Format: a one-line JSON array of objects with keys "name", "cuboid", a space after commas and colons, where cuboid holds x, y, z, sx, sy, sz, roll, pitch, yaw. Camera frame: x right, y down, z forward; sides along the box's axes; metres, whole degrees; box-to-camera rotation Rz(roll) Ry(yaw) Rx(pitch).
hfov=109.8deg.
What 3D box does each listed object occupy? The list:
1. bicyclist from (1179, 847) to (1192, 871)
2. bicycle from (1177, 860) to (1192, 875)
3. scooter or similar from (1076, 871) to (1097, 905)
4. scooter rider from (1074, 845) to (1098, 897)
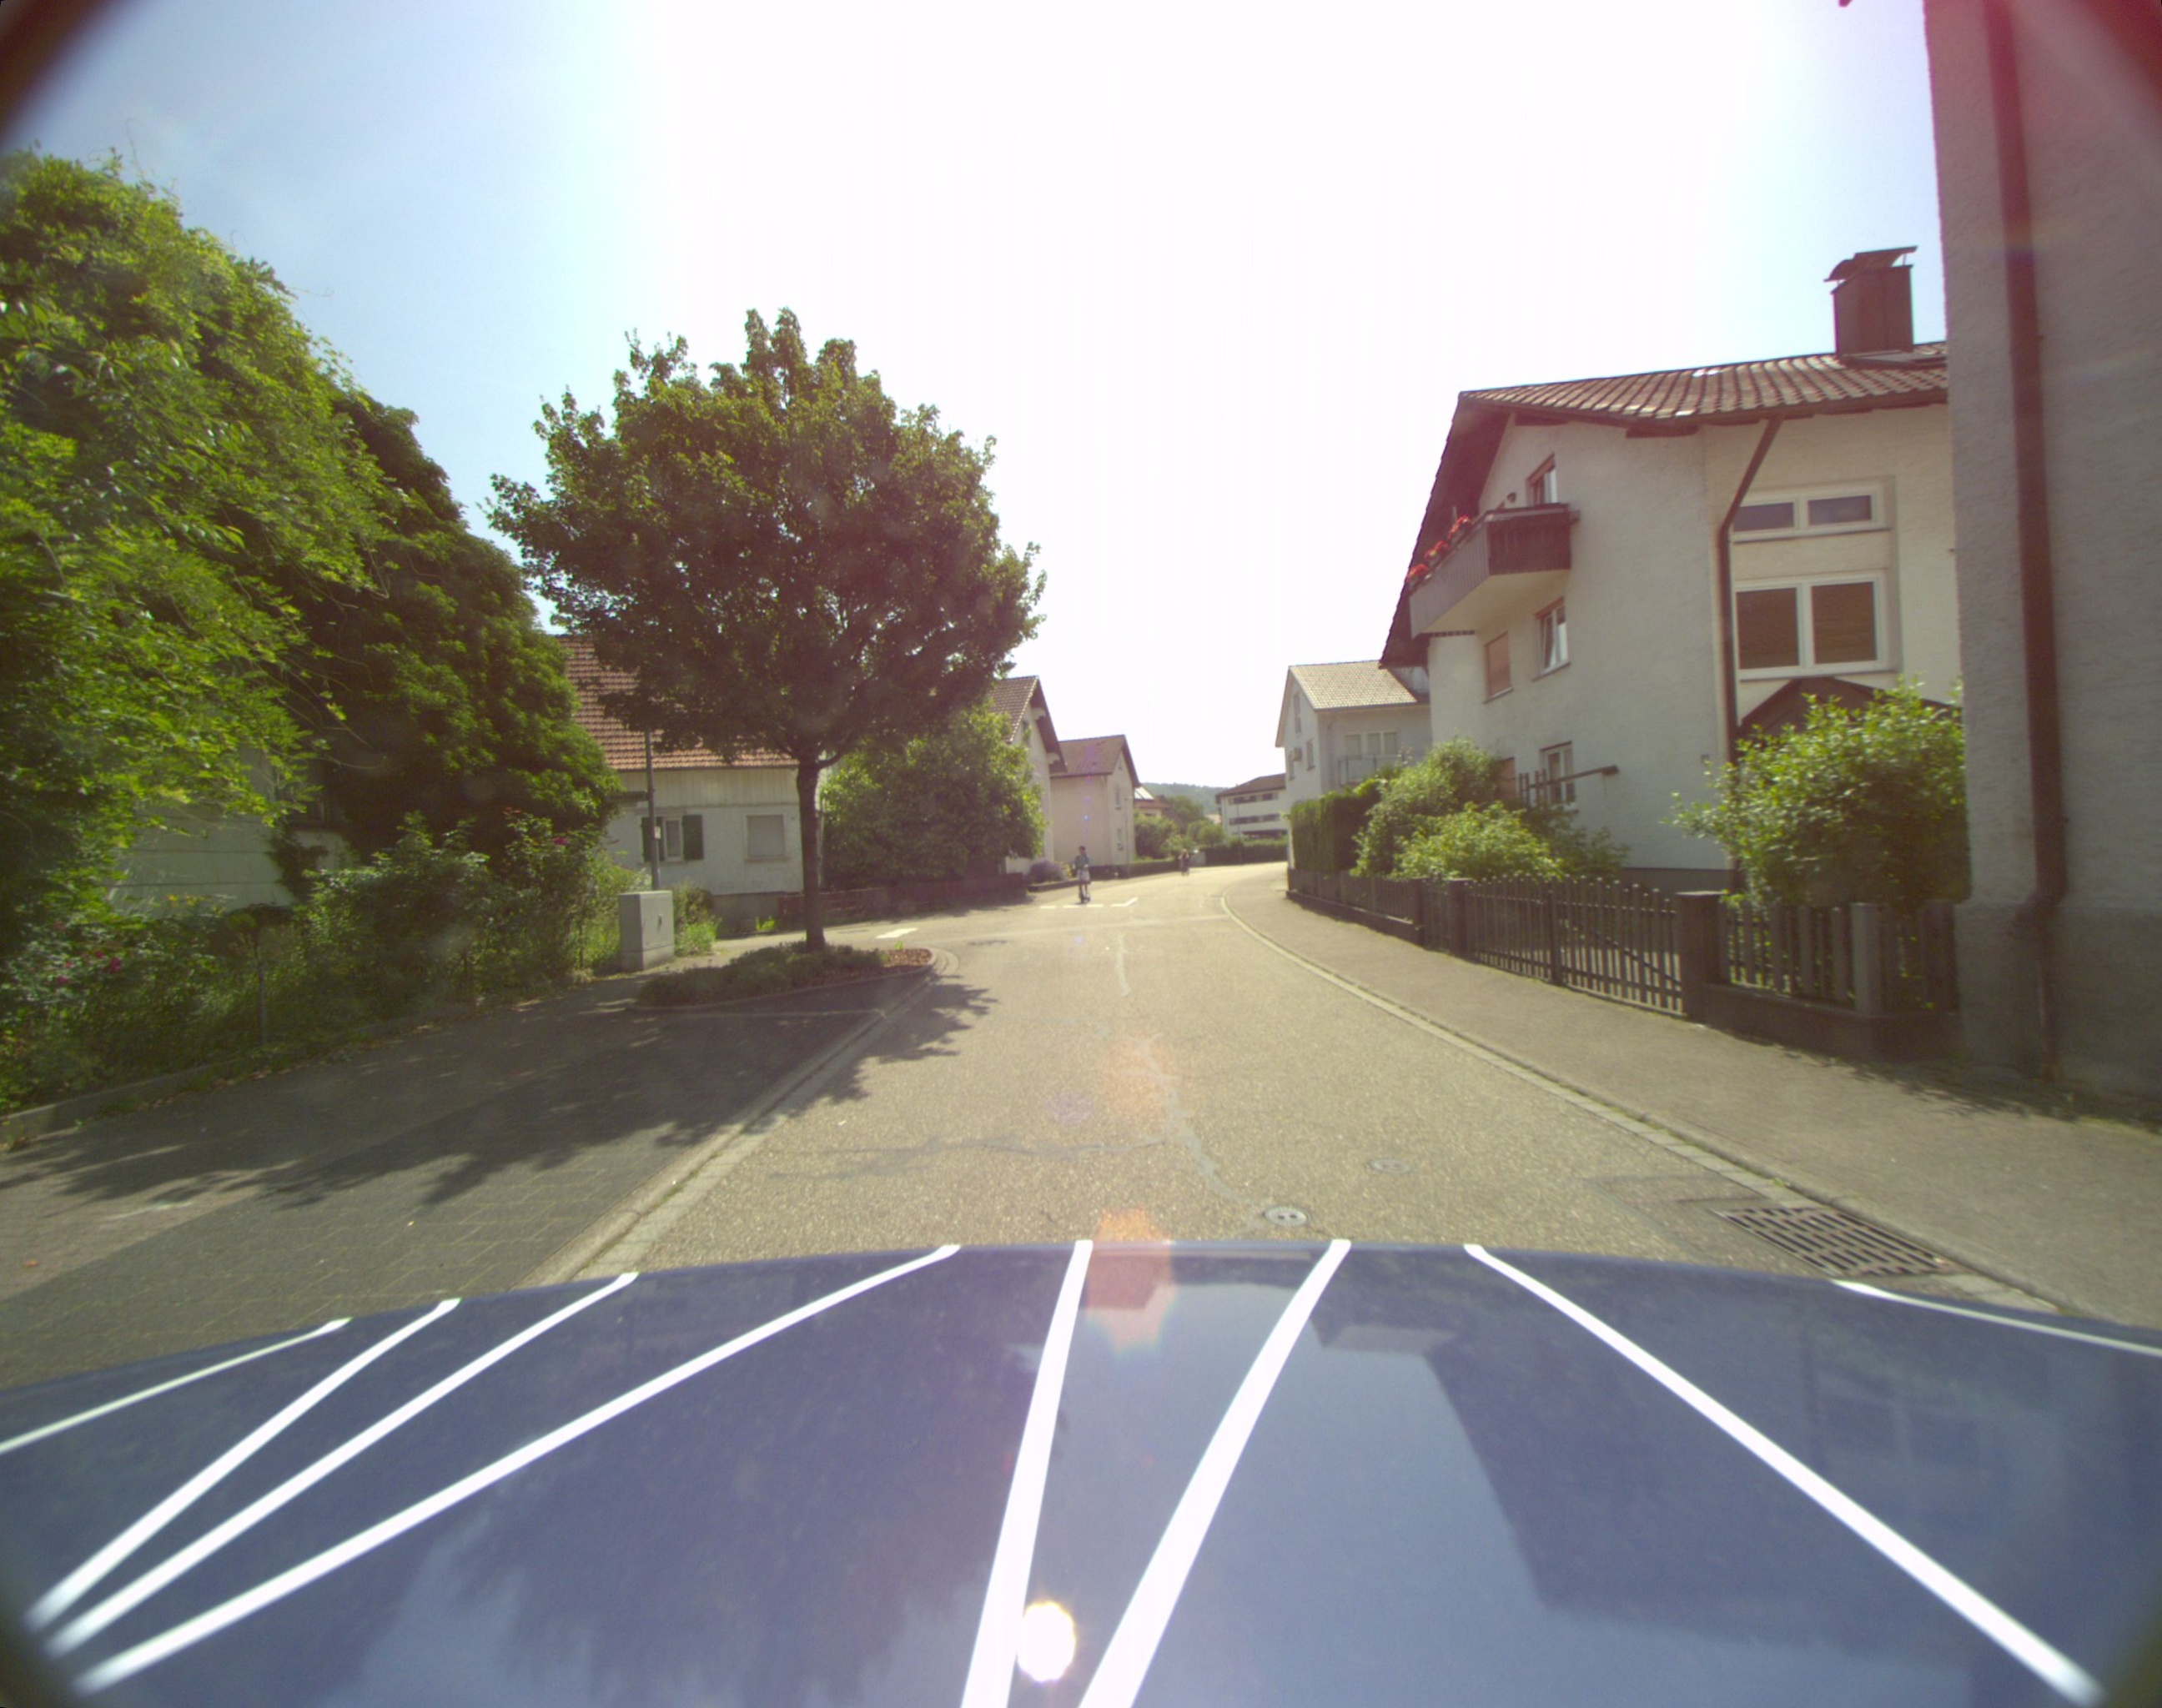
[{"name": "bicyclist", "cuboid": [6.716, 0.317, 48.939, 0.546, 1.481, 0.798, -2, 1, 28]}, {"name": "bicycle", "cuboid": [6.674, 0.888, 48.836, 0.520, 0.898, 1.315, -2, 0, 28]}, {"name": "scooter or similar", "cuboid": [0.192, 1.139, 25.710, 0.542, 1.083, 0.692, -2, 0, 13]}, {"name": "scooter rider", "cuboid": [0.163, 0.573, 25.673, 0.616, 1.714, 0.641, -2, 1, 12]}]
